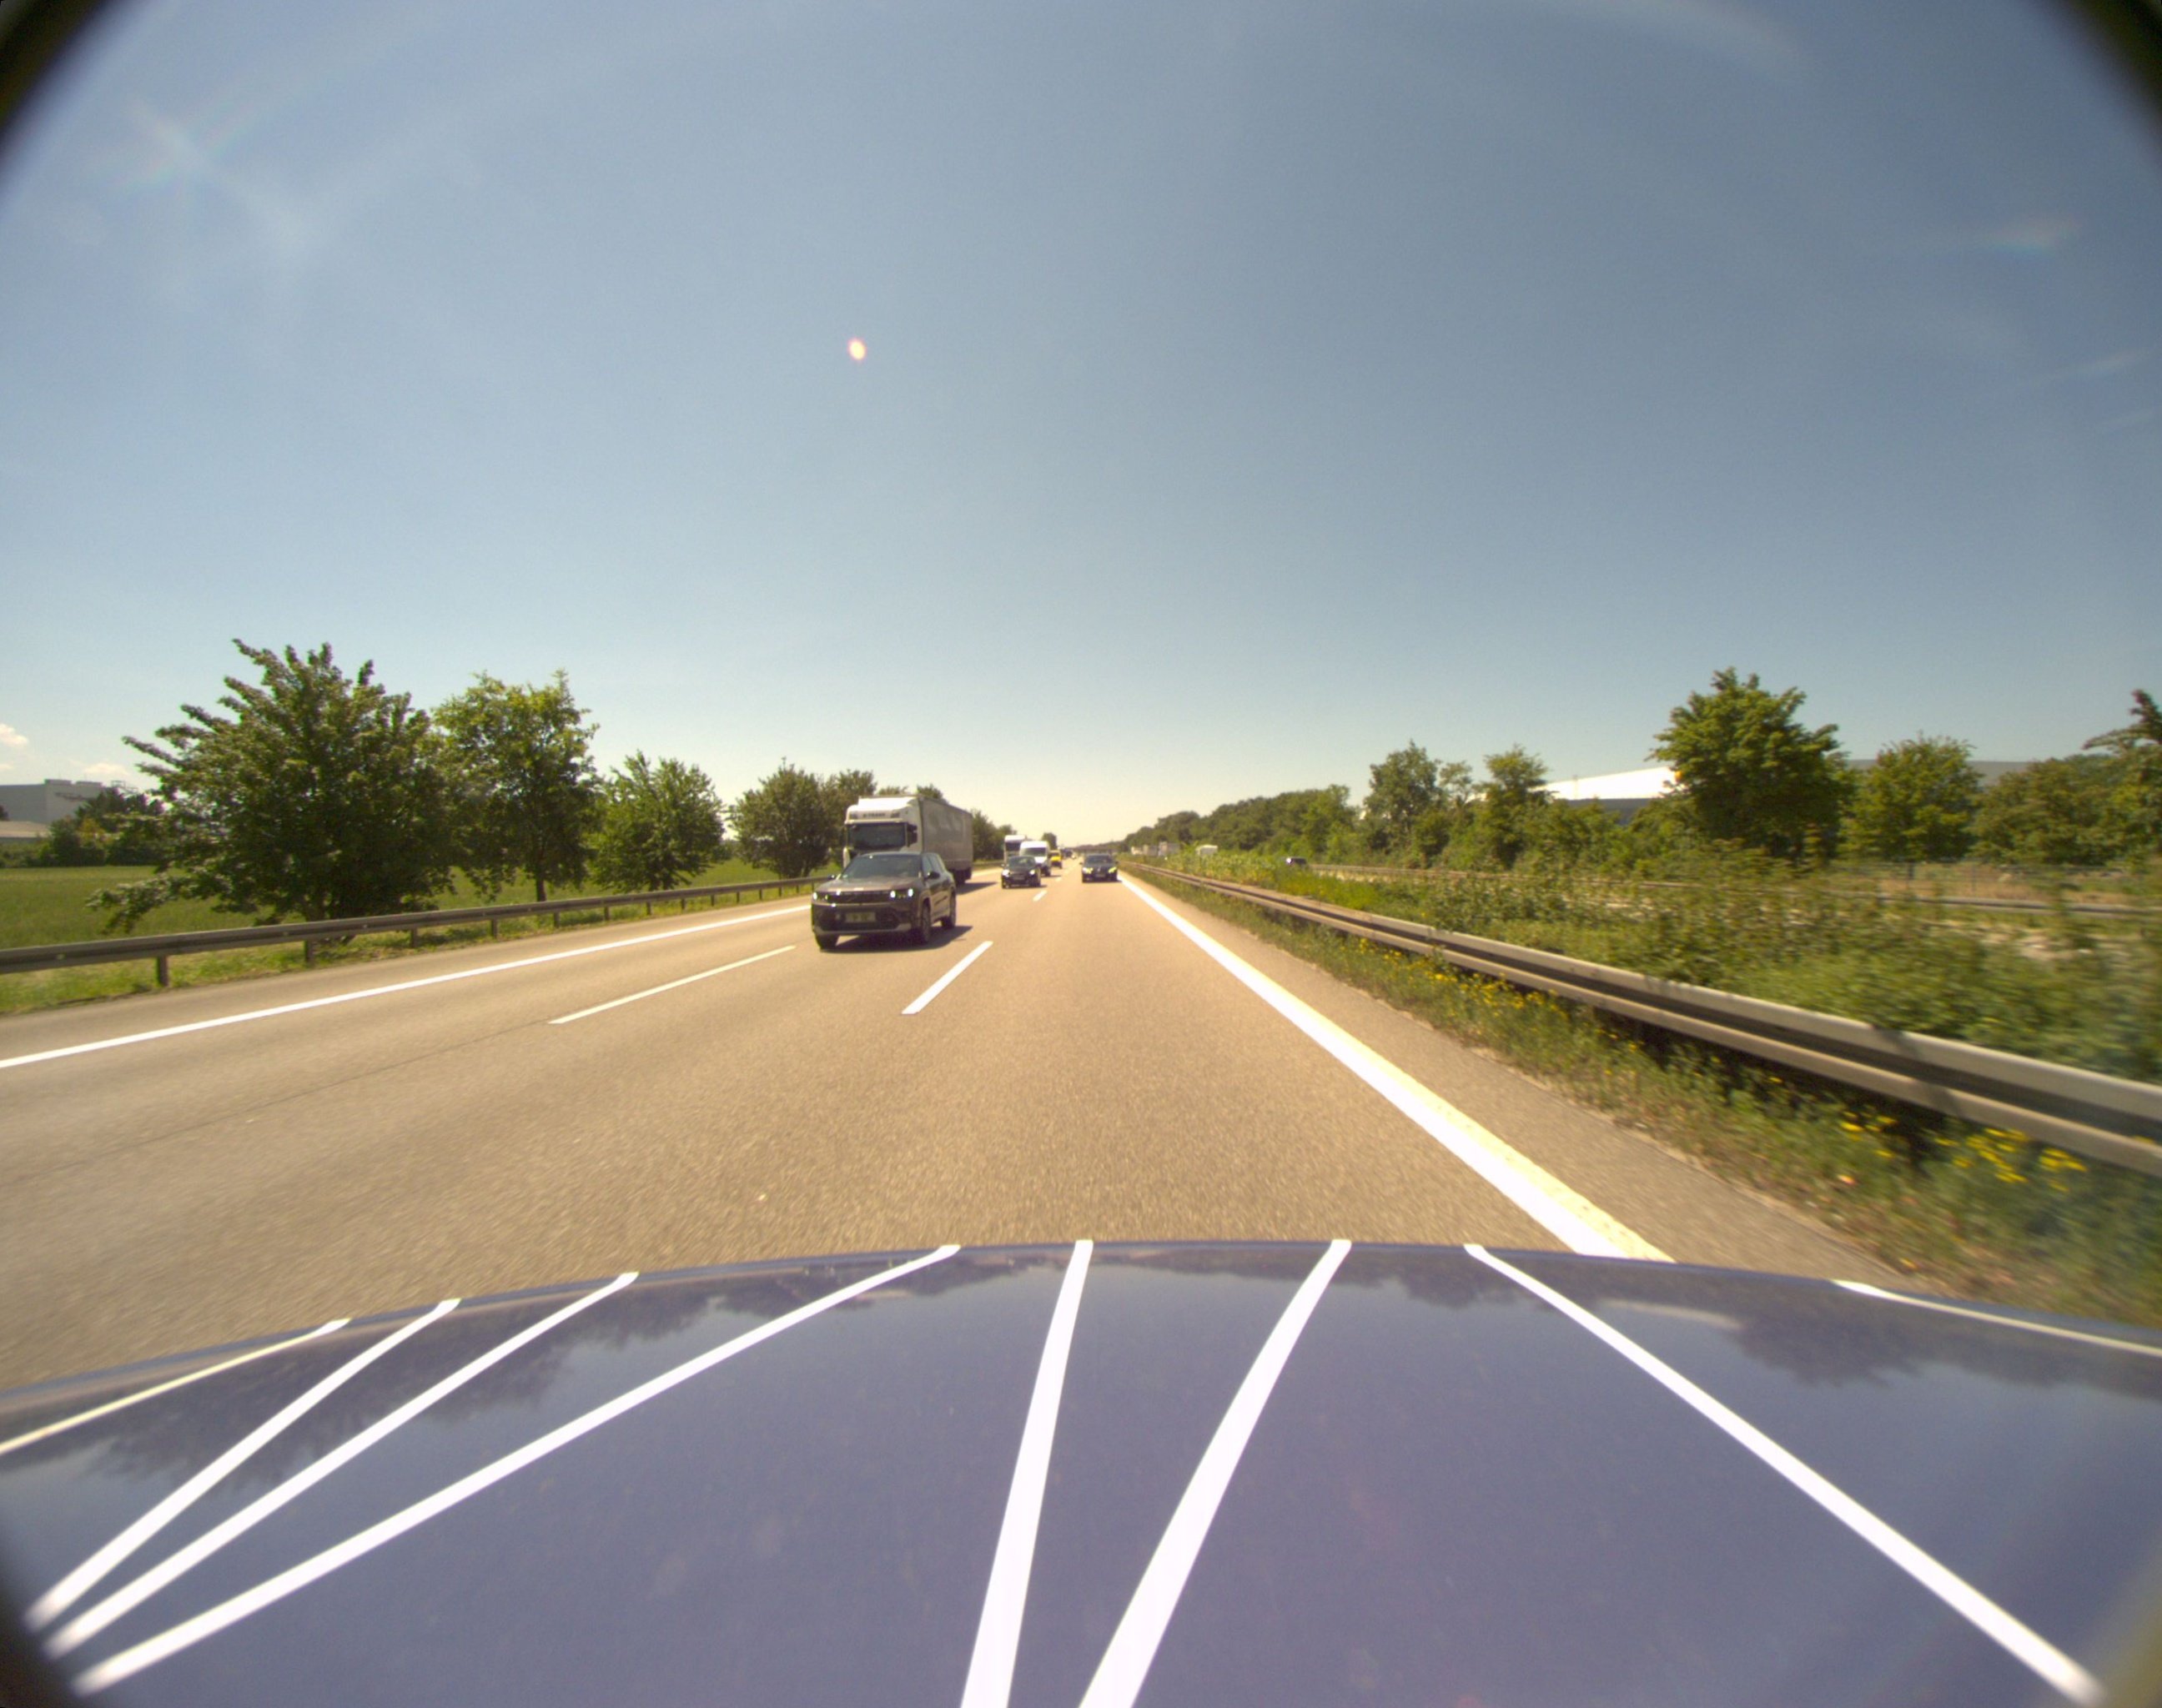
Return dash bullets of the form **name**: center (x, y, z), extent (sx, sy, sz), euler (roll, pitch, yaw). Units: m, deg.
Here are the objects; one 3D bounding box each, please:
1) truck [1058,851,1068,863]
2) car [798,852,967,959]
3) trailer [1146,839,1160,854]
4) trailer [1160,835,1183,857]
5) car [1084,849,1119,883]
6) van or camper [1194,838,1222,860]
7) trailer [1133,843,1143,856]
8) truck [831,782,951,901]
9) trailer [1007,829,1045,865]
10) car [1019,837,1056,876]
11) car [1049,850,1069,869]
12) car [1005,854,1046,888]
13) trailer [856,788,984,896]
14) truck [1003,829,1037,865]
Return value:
- **truck**: center (-5.633, 0.843, 237.309), extent (2.976, 3.626, 7.148), euler (-2, 1, -2)
- **car**: center (-3.597, 0.838, 14.773), extent (1.872, 1.665, 4.746), euler (-2, 1, 1)
- **trailer**: center (20.068, -2.014, 213.061), extent (2.764, 4.079, 14.052), euler (2, 1, 1)
- **trailer**: center (18.357, -1.717, 154.707), extent (2.985, 4.188, 13.730), euler (1, 2, 0)
- **car**: center (1.092, 0.574, 39.649), extent (1.690, 1.646, 3.462), euler (-2, 1, 2)
- **van or camper**: center (18.260, -0.687, 109.720), extent (2.857, 2.952, 7.446), euler (1, 1, 1)
- **trailer**: center (19.168, -1.548, 255.900), extent (2.746, 4.061, 14.347), euler (1, 0, 2)
- **truck**: center (-7.585, -0.493, 31.485), extent (2.817, 4.279, 7.193), euler (-2, 1, 1)
- **trailer**: center (-6.642, -0.842, 93.944), extent (2.699, 3.943, 13.963), euler (-2, 0, 3)
- **car**: center (-3.005, 0.123, 53.377), extent (2.159, 2.494, 5.945), euler (-2, 1, 0)
- **car**: center (-2.331, 0.574, 81.286), extent (1.958, 1.939, 3.999), euler (-2, 1, 0)
- **car**: center (-2.577, 0.748, 35.777), extent (1.692, 1.465, 3.432), euler (-1, 0, -1)
- **trailer**: center (-7.402, -0.548, 37.808), extent (2.817, 4.279, 14.254), euler (-2, 0, 2)
- **truck**: center (-6.983, -0.812, 87.983), extent (2.699, 3.943, 7.704), euler (-2, 0, 3)
